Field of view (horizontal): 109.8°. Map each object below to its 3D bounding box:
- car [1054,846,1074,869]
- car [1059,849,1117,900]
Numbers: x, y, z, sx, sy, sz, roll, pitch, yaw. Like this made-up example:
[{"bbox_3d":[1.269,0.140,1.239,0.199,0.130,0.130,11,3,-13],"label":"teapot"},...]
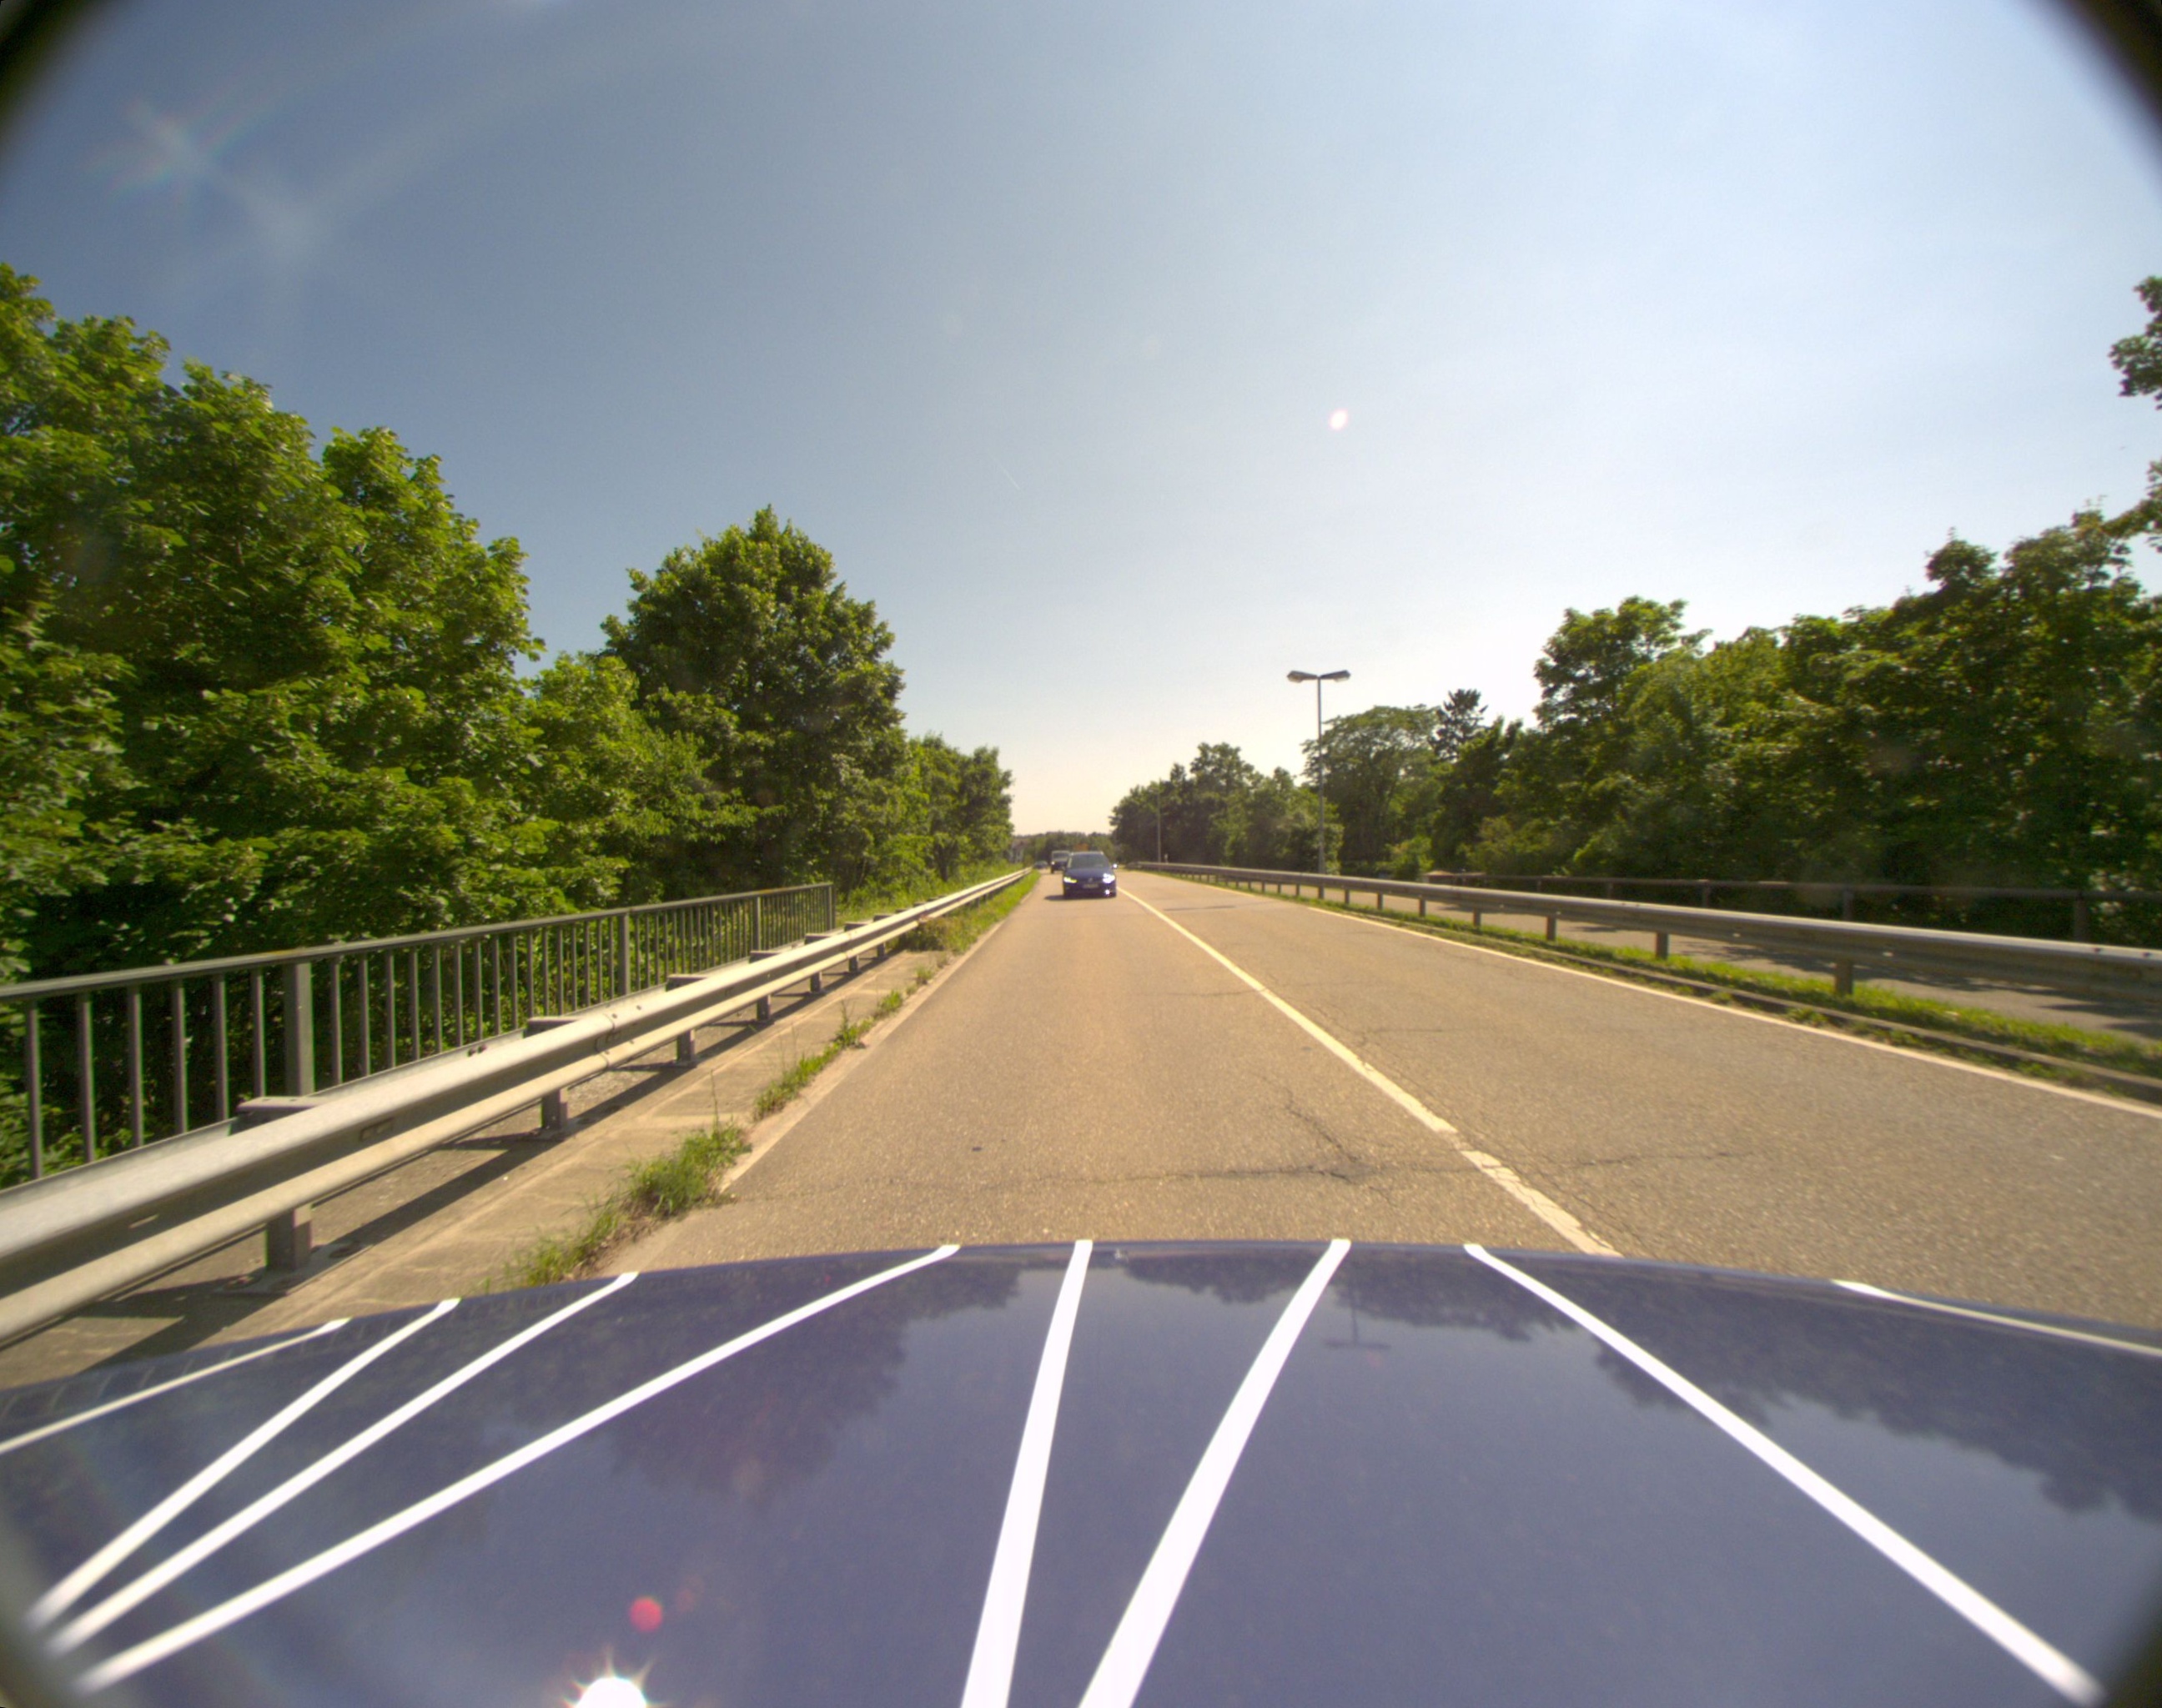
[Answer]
[{"bbox_3d":[-1.476,0.340,66.617,1.779,2.006,4.000,0,-1,-1],"label":"car"},{"bbox_3d":[0.228,0.646,26.611,1.828,1.592,4.195,-2,1,0],"label":"car"}]
